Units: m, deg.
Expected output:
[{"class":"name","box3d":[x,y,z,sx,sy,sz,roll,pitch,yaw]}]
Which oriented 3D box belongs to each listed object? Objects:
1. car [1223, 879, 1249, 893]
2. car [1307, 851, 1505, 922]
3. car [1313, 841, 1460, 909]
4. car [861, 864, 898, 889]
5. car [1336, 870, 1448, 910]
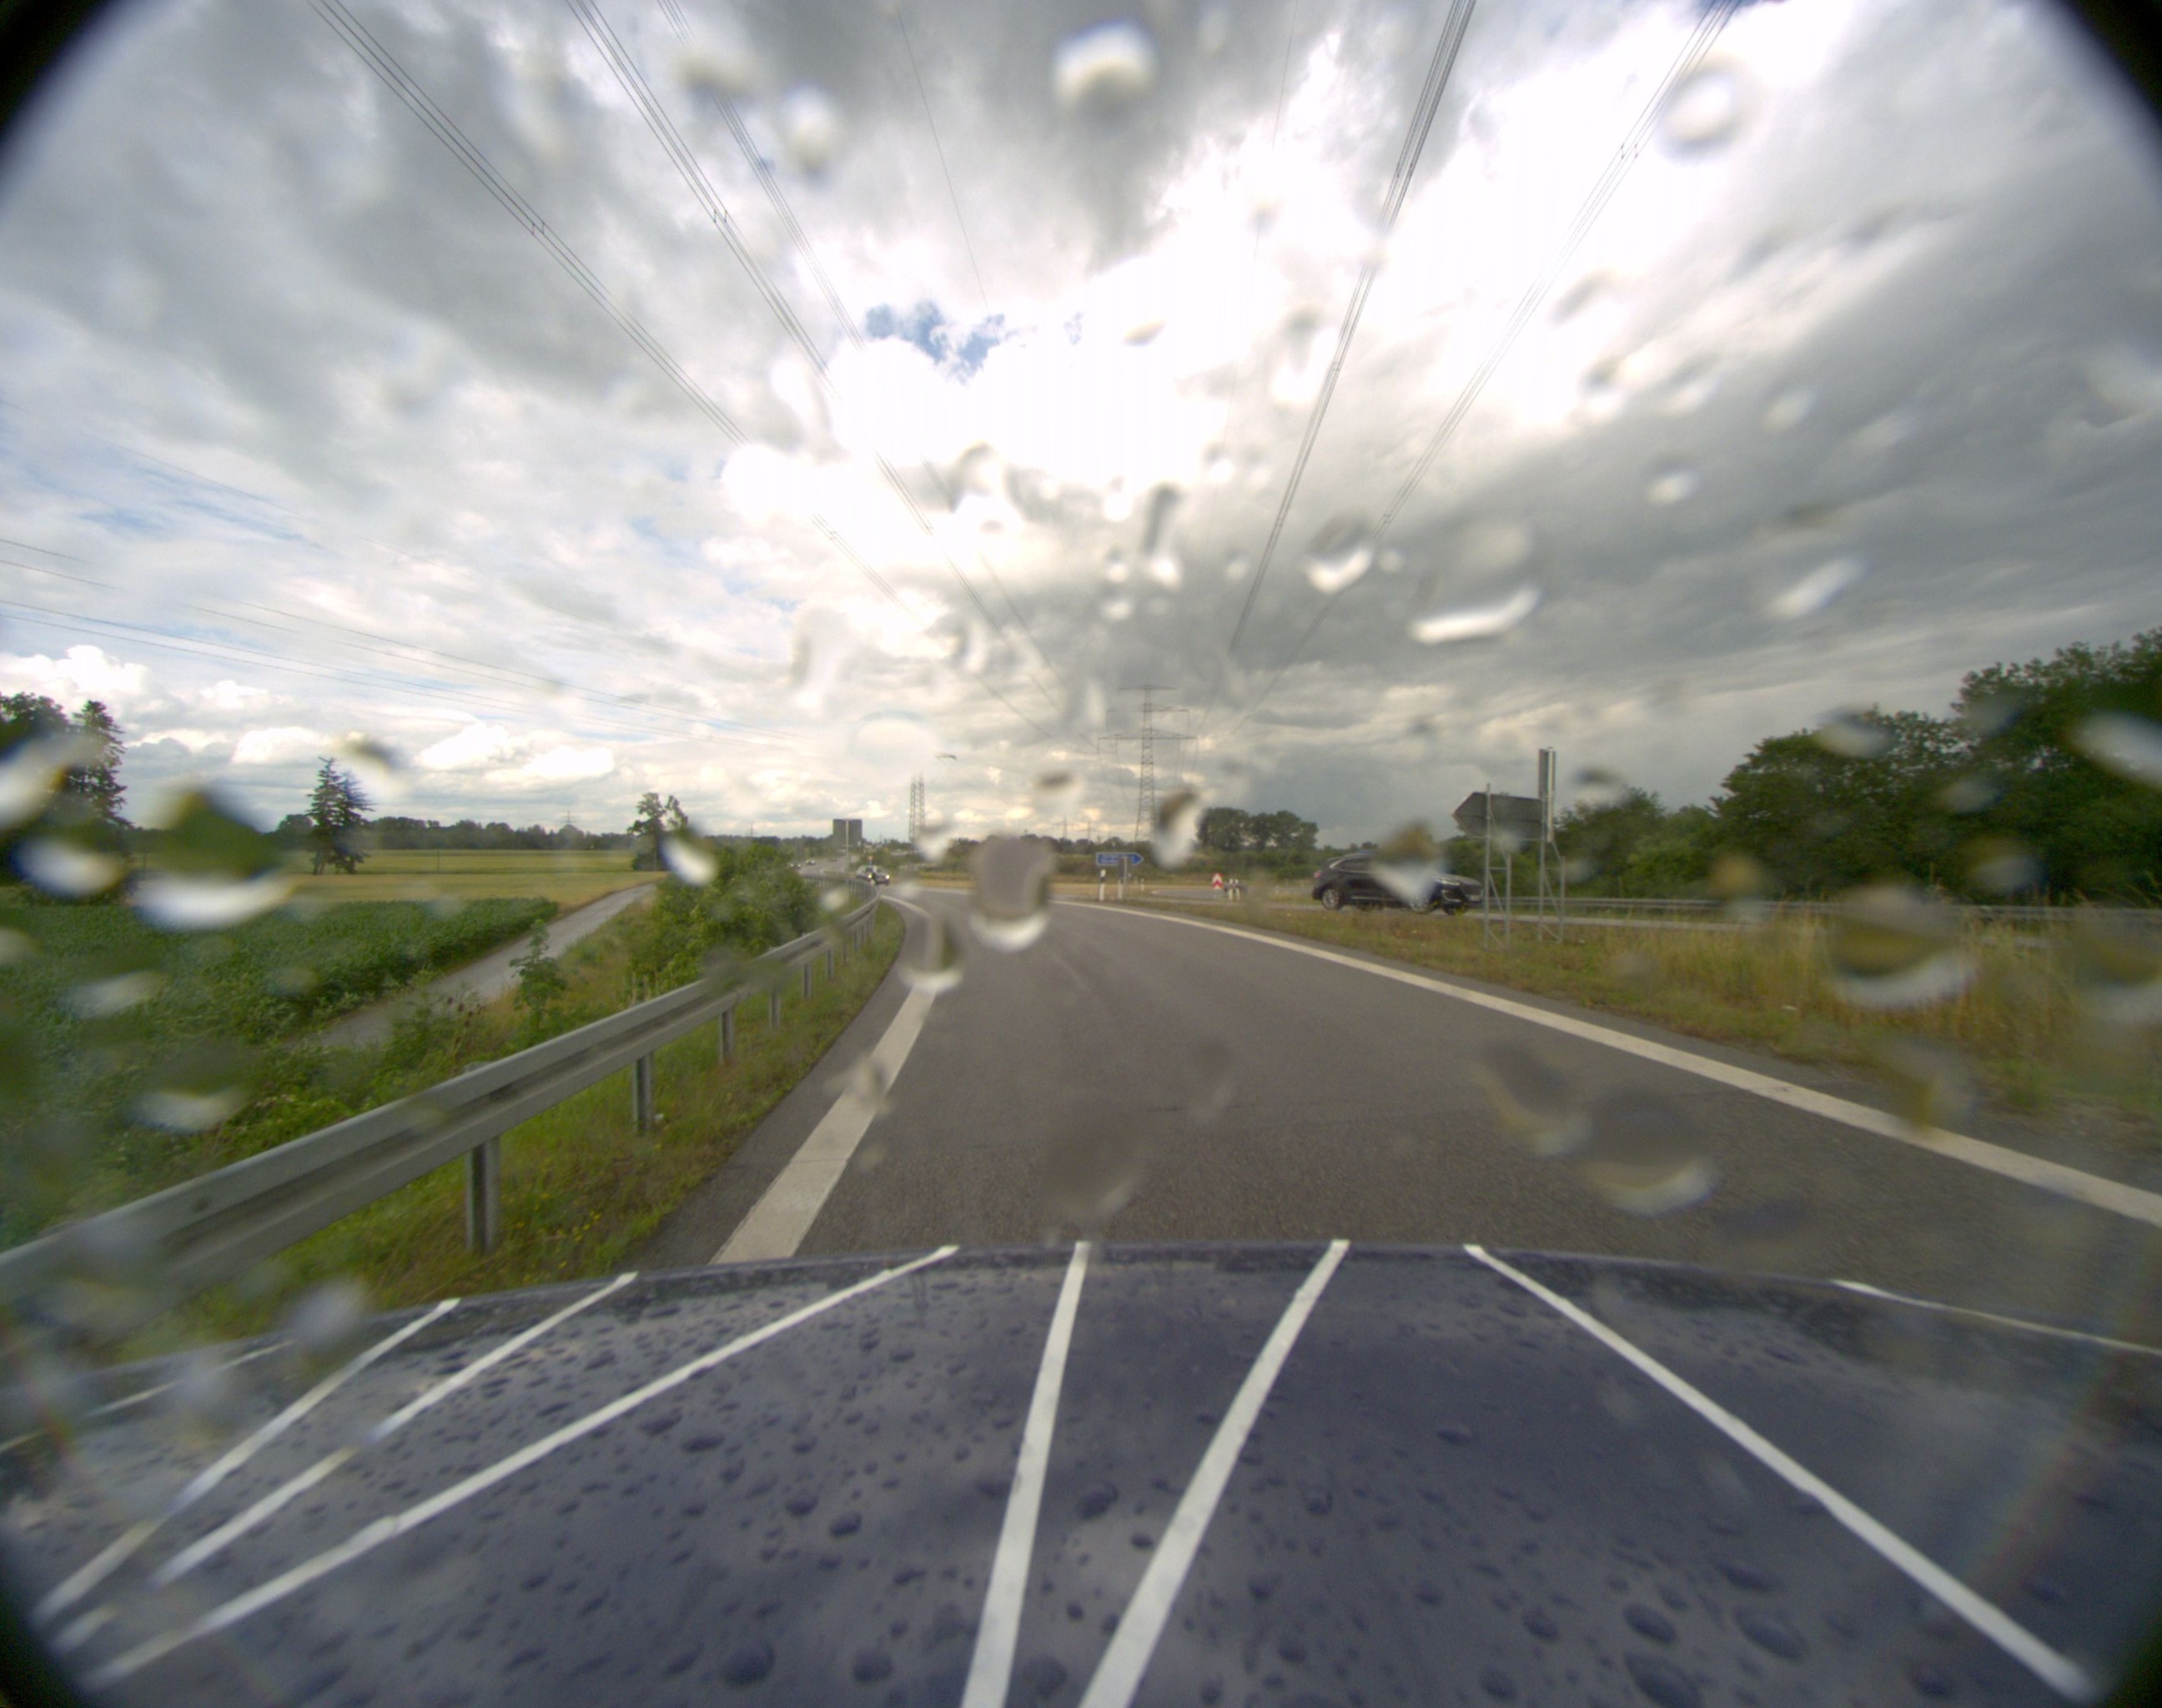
[{"class":"car","box3d":[17.157,3.488,84.049,1.737,1.430,3.781,2,-1,29]},{"class":"car","box3d":[8.680,0.807,20.713,2.004,1.709,4.582,1,-1,-35]},{"class":"car","box3d":[13.421,0.879,33.959,2.336,2.709,6.271,1,0,-23]},{"class":"car","box3d":[-15.258,1.652,57.420,2.002,1.742,3.992,-1,0,-24]},{"class":"car","box3d":[10.344,1.161,25.399,1.438,1.169,3.125,-2,1,-38]}]
